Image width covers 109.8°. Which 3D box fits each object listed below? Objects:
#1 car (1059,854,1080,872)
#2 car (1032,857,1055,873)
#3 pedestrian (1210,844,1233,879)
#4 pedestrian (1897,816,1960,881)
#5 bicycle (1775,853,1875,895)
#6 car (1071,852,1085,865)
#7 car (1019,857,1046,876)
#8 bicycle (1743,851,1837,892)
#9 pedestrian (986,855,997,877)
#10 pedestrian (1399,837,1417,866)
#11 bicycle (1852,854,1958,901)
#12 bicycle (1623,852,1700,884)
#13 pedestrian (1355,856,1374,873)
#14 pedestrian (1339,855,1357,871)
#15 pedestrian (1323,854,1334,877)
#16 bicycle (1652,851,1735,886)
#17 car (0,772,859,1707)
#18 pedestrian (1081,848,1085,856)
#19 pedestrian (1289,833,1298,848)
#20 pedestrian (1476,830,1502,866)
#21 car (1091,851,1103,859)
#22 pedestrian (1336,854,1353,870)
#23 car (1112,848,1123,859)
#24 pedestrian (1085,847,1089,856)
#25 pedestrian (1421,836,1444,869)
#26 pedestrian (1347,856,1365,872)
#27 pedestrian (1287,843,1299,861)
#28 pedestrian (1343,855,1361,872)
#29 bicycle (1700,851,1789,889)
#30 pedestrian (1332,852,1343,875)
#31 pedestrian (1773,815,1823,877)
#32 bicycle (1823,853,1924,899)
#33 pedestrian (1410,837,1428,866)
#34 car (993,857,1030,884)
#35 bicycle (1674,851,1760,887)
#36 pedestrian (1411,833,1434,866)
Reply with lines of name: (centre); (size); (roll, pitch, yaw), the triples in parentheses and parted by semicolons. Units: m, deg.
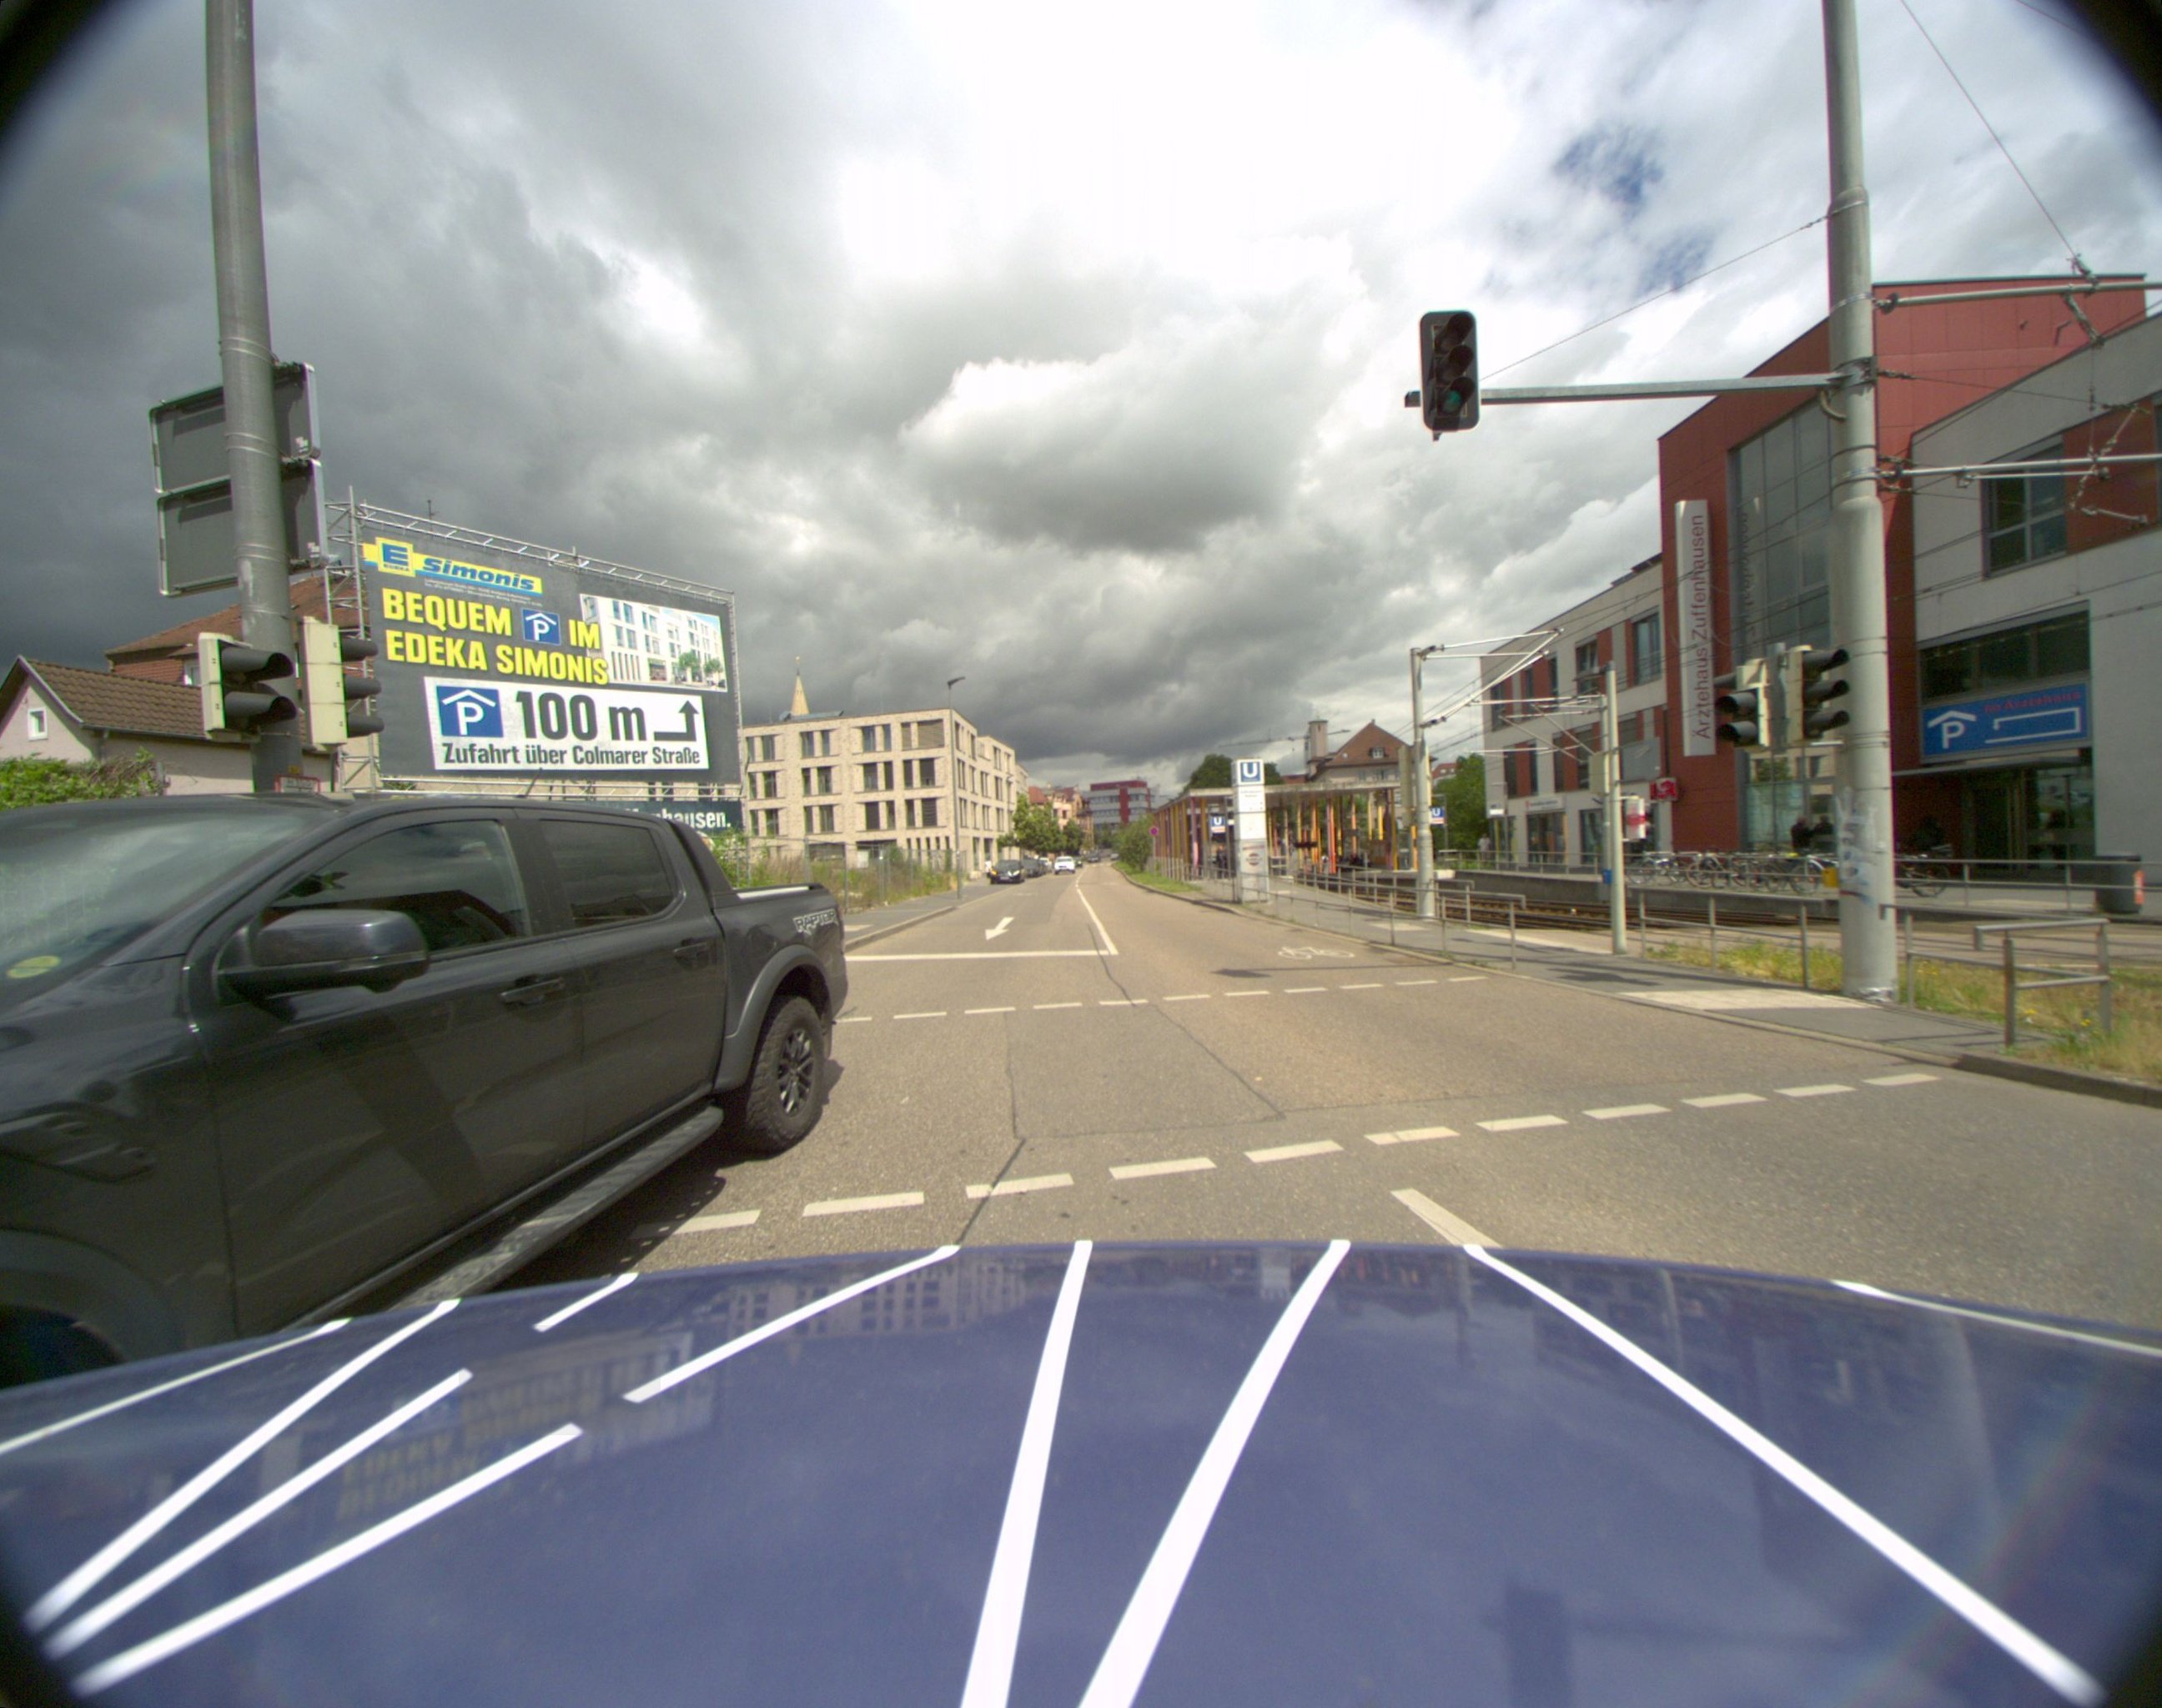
car: (-0.969, 0.752, 66.904); (1.719, 1.541, 3.793); (-1, 0, 1)
car: (-3.297, 0.986, 67.855); (1.677, 1.299, 3.794); (-1, 1, 3)
pedestrian: (7.700, 0.396, 41.639); (1.105, 1.903, 0.864); (-1, 2, 2)
pedestrian: (22.702, -0.157, 20.376); (0.933, 1.688, 0.790); (0, 2, 34)
bicycle: (17.645, 0.470, 18.035); (1.862, 0.930, 0.454); (-2, 1, 3)
car: (-0.350, 0.536, 95.515); (1.678, 1.425, 3.794); (-2, 1, 0)
car: (-3.806, 0.984, 59.952); (1.677, 1.367, 3.795); (-2, 0, 3)
bicycle: (17.682, 0.438, 18.967); (1.862, 0.957, 0.454); (-2, 1, 3)
pedestrian: (-6.322, 0.862, 53.583); (0.673, 1.503, 0.782); (-2, 0, 1)
pedestrian: (22.741, -0.184, 52.844); (0.863, 1.957, 1.106); (-1, 2, 6)
bicycle: (17.724, 0.503, 16.362); (1.739, 0.947, 0.428); (-2, 1, 3)
bicycle: (17.532, 0.422, 22.976); (1.861, 0.876, 0.455); (-2, 1, 9)
pedestrian: (19.262, 0.699, 51.680); (0.943, 1.128, 0.886); (-2, 0, 2)
pedestrian: (19.179, 0.647, 54.584); (0.943, 1.128, 0.886); (-2, 0, 2)
pedestrian: (21.579, 0.998, 66.342); (0.617, 2.002, 0.775); (-2, 0, -6)
bicycle: (17.591, 0.408, 21.848); (1.861, 0.927, 0.455); (-2, 1, 9)
car: (-2.682, 0.795, 2.537); (2.003, 1.876, 5.151); (-1, 1, 4)
pedestrian: (0.311, -0.343, 143.547); (0.673, 1.503, 0.783); (-2, 0, 3)
pedestrian: (29.849, -1.913, 106.915); (1.125, 2.002, 1.661); (-1, 0, 13)
pedestrian: (22.288, -0.332, 41.501); (0.864, 1.957, 1.106); (-1, 2, 3)
car: (2.554, 0.138, 119.449); (1.677, 1.299, 3.794); (-1, 1, 3)
pedestrian: (19.293, 0.607, 55.560); (0.943, 1.128, 0.886); (-2, 0, 2)
car: (5.914, -0.117, 123.089); (1.588, 1.528, 3.946); (-5, 1, 1)
pedestrian: (1.214, -0.473, 143.567); (0.673, 1.503, 0.783); (-2, 0, 3)
pedestrian: (21.232, -0.087, 45.959); (0.864, 1.957, 1.105); (-1, 2, -1)
pedestrian: (19.067, 0.684, 52.636); (0.943, 1.128, 0.886); (-2, 0, 2)
pedestrian: (24.499, -0.216, 87.763); (1.127, 2.002, 1.179); (-1, 0, 6)
pedestrian: (19.082, 0.666, 53.594); (0.943, 1.128, 0.886); (-2, 0, 2)
bicycle: (17.548, 0.429, 20.118); (1.861, 0.934, 0.454); (-2, 1, 5)
pedestrian: (22.405, 0.795, 66.276); (0.623, 2.002, 0.763); (-2, 0, -6)
pedestrian: (22.010, -0.240, 23.337); (0.881, 1.835, 0.862); (-4, 3, -27)
bicycle: (17.712, 0.489, 16.995); (1.739, 0.952, 0.428); (-2, 1, 3)
pedestrian: (23.418, -0.184, 52.689); (0.863, 1.957, 1.106); (-1, 2, 6)
car: (-4.164, 0.961, 46.016); (1.677, 1.415, 3.794); (-1, 1, 3)
bicycle: (17.566, 0.423, 21.019); (1.861, 0.917, 0.455); (-2, 1, 8)
pedestrian: (20.708, -0.272, 46.037); (0.864, 1.957, 1.105); (-1, 2, -1)
